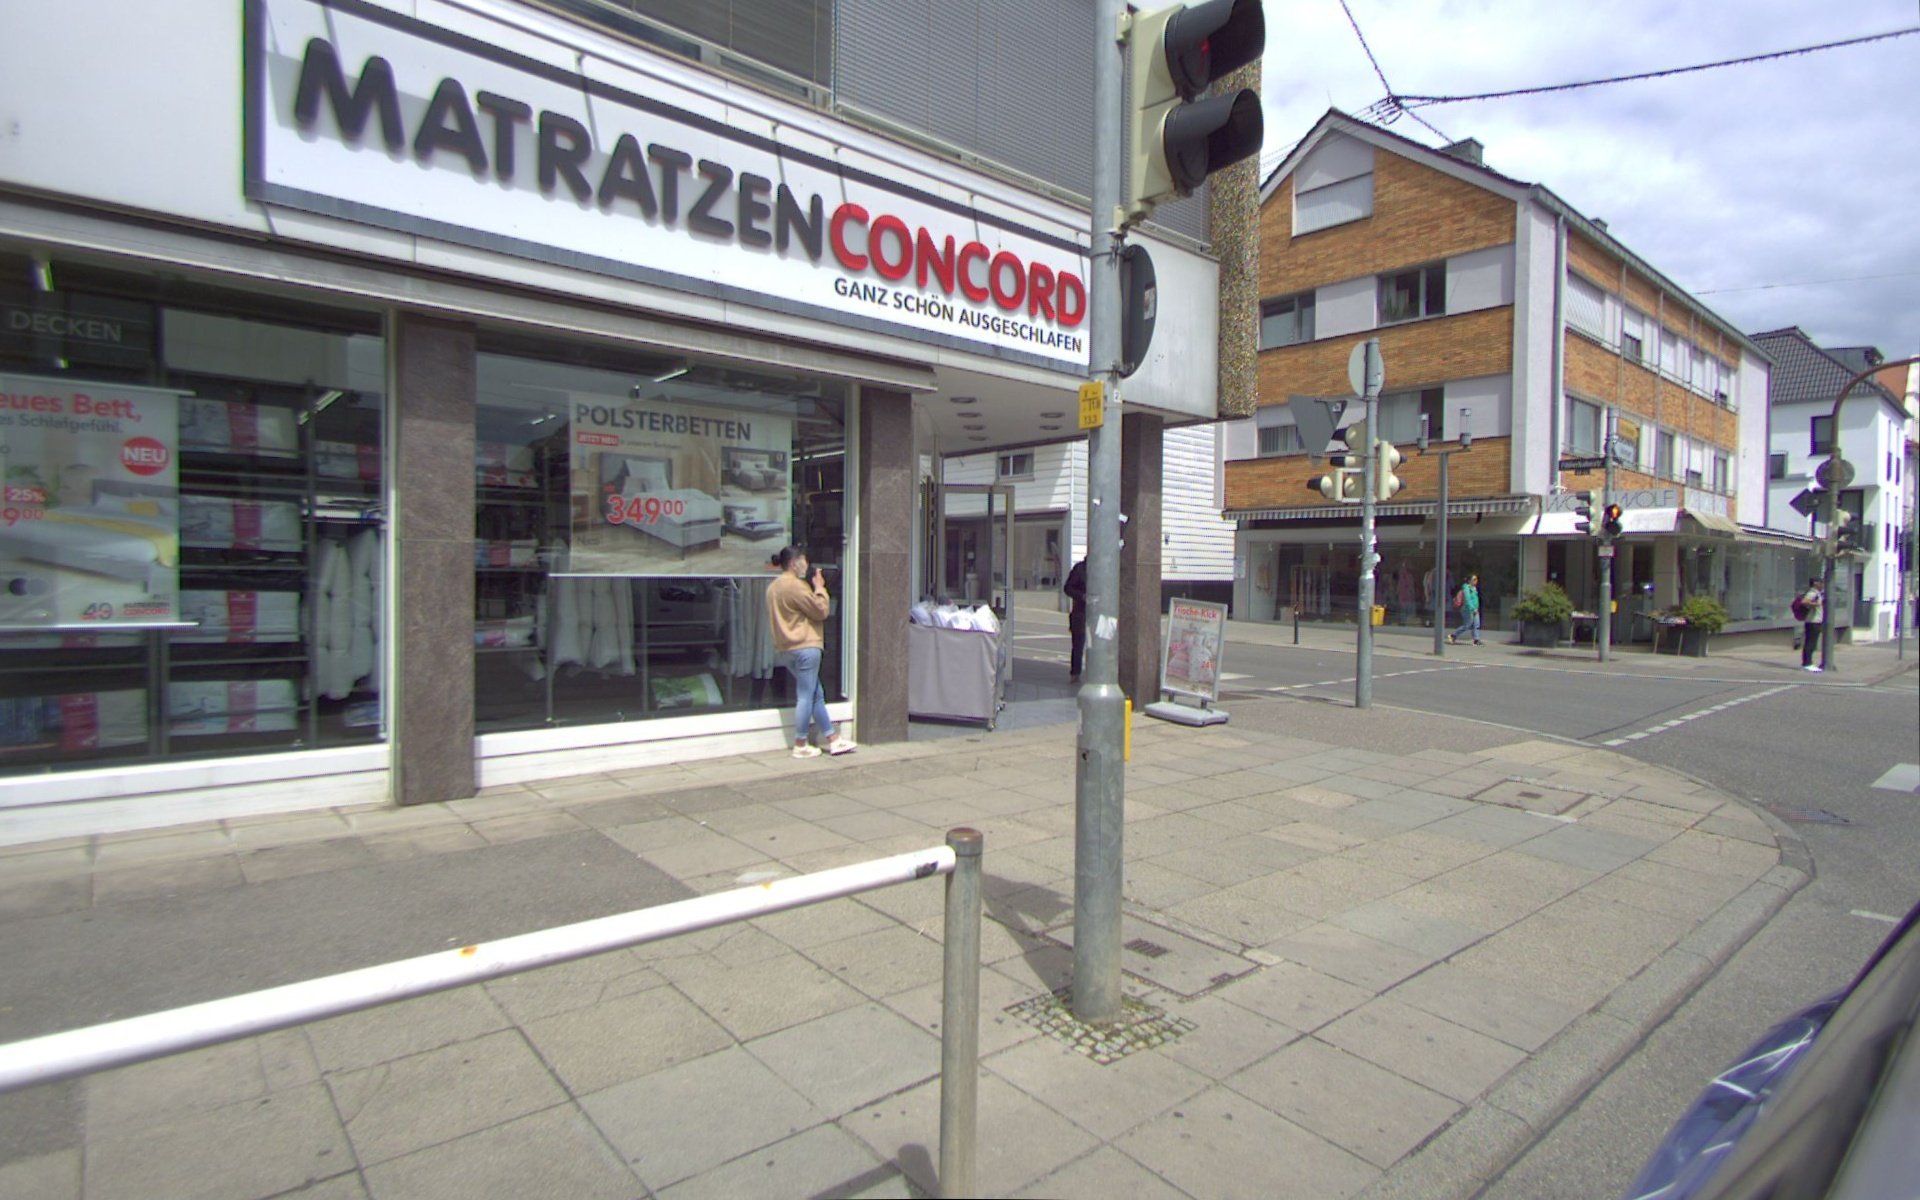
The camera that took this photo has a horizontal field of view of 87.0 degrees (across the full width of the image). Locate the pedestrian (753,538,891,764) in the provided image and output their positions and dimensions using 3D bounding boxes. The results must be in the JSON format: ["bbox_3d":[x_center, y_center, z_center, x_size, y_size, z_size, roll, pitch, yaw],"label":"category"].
[{"bbox_3d":[-0.996,0.331,7.289,0.707,1.517,0.681,0,1,-41],"label":"pedestrian"}]

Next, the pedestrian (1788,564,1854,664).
[{"bbox_3d":[16.488,0.256,19.390,0.862,1.853,0.583,1,2,-25],"label":"pedestrian"}]

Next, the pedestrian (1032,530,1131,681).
[{"bbox_3d":[1.424,0.045,11.893,0.783,1.691,0.807,0,2,-38],"label":"pedestrian"}]

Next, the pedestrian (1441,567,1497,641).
[{"bbox_3d":[10.972,0.074,21.814,0.766,1.544,0.818,0,2,-42],"label":"pedestrian"}]
